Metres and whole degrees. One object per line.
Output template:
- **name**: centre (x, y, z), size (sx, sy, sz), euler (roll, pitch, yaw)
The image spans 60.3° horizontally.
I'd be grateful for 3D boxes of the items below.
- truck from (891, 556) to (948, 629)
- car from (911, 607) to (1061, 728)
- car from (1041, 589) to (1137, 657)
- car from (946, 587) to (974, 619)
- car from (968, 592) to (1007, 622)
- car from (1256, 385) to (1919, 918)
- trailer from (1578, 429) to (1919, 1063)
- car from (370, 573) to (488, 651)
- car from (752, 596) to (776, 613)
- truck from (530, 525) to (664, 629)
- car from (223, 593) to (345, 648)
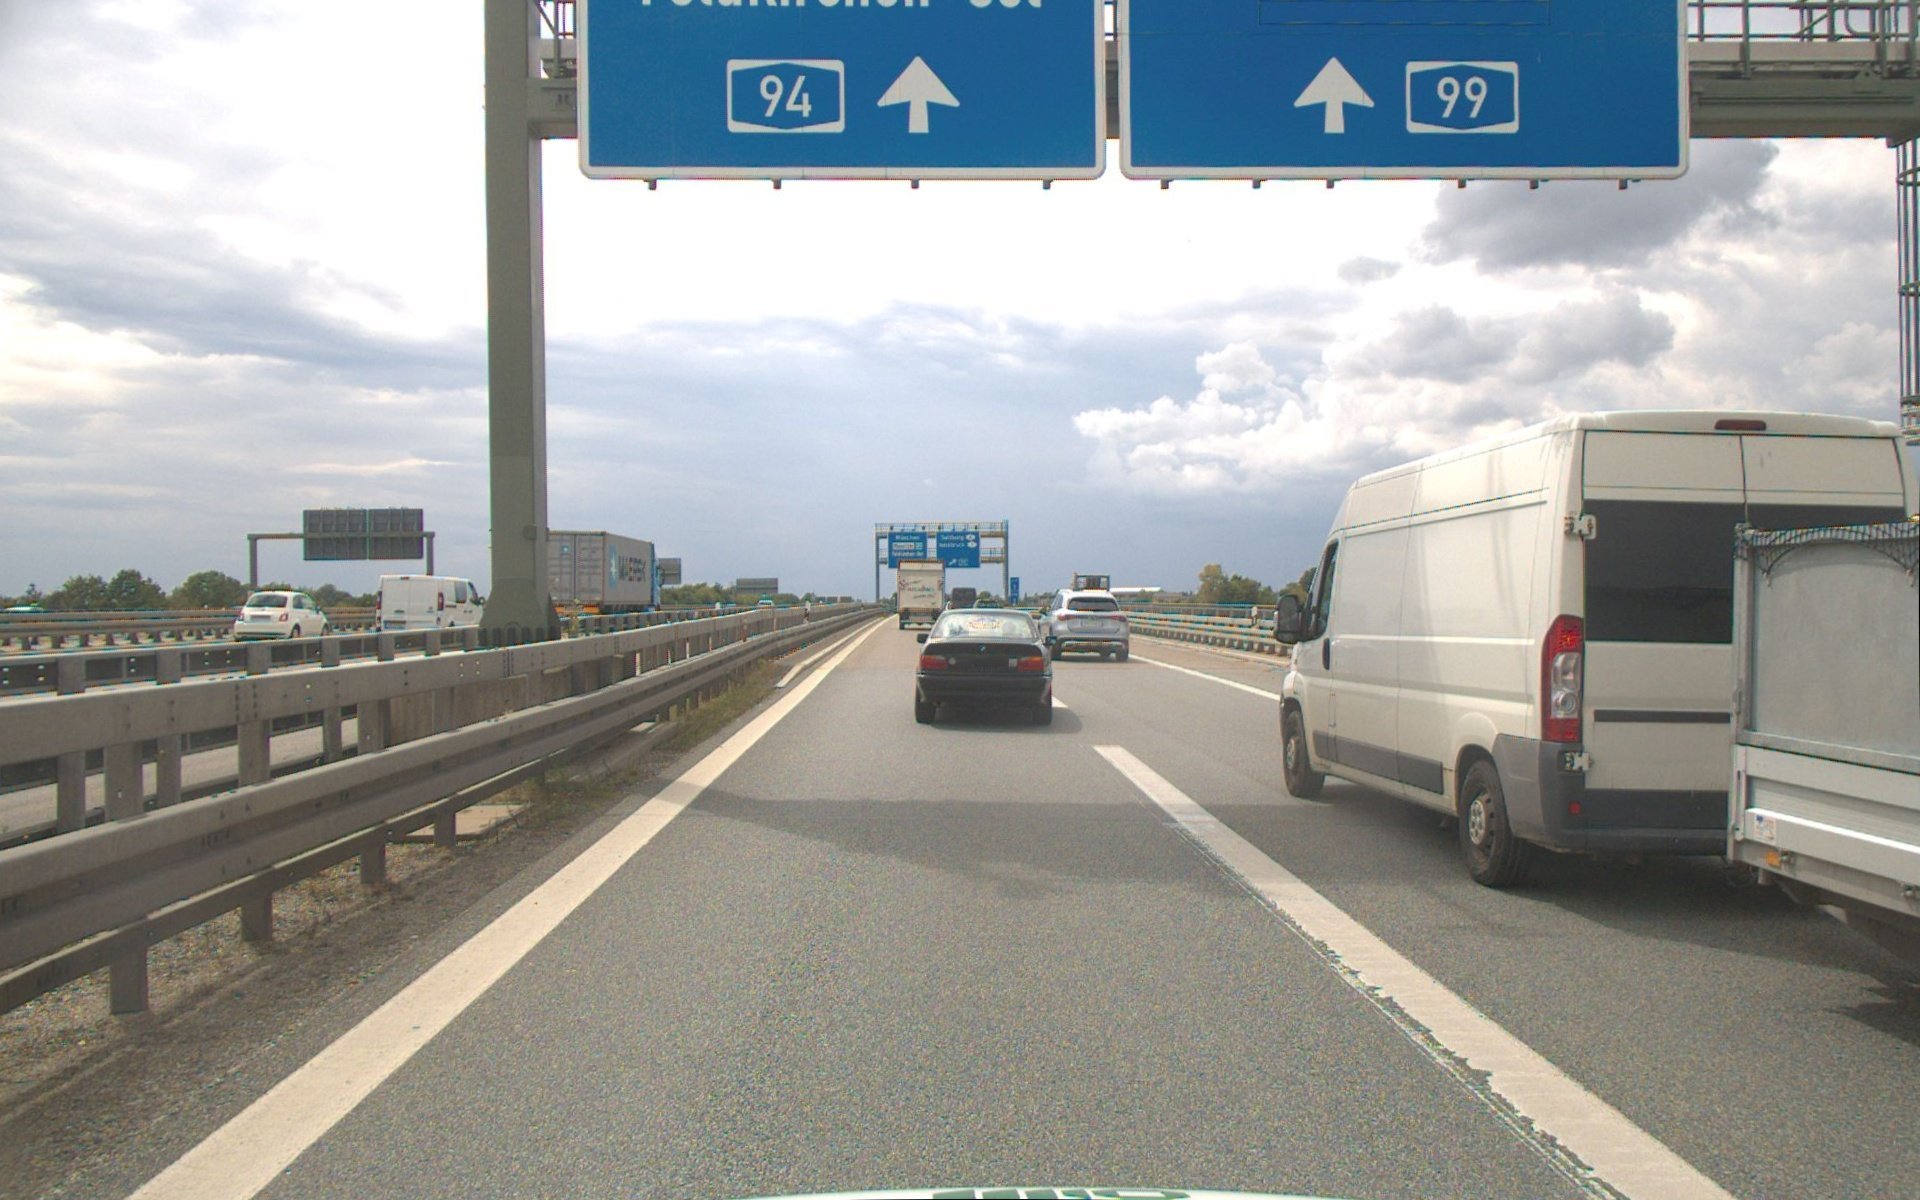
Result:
- **truck**: centre (-1.941, -0.262, 78.377), size (2.517, 3.181, 8.630), euler (1, -1, -2)
- **car**: centre (0.355, 0.773, 20.877), size (1.669, 1.303, 4.367), euler (1, 0, 2)
- **car**: centre (3.071, 0.522, 40.092), size (1.783, 1.541, 3.997), euler (1, 0, -3)
- **car**: centre (-0.021, 0.205, 120.428), size (1.868, 2.301, 4.647), euler (1, 0, -2)
- **car**: centre (1.455, 0.362, 88.746), size (1.847, 1.579, 3.998), euler (1, 0, -2)
- **car**: centre (3.700, 0.241, 10.923), size (2.072, 2.497, 6.148), euler (1, 0, -3)
- **trailer**: centre (4.005, 0.484, 5.682), size (1.818, 2.049, 4.629), euler (1, 0, -3)
- **car**: centre (-14.766, 0.310, 46.256), size (1.953, 2.049, 4.373), euler (1, 0, -2)
- **car**: centre (-18.393, 0.403, 154.969), size (1.791, 1.590, 3.999), euler (1, 0, -1)
- **truck**: centre (-15.899, -0.962, 73.919), size (3.120, 4.089, 16.066), euler (1, 0, -3)
- **car**: centre (-18.853, 0.543, 46.297), size (1.761, 1.444, 4.000), euler (1, 0, 0)
